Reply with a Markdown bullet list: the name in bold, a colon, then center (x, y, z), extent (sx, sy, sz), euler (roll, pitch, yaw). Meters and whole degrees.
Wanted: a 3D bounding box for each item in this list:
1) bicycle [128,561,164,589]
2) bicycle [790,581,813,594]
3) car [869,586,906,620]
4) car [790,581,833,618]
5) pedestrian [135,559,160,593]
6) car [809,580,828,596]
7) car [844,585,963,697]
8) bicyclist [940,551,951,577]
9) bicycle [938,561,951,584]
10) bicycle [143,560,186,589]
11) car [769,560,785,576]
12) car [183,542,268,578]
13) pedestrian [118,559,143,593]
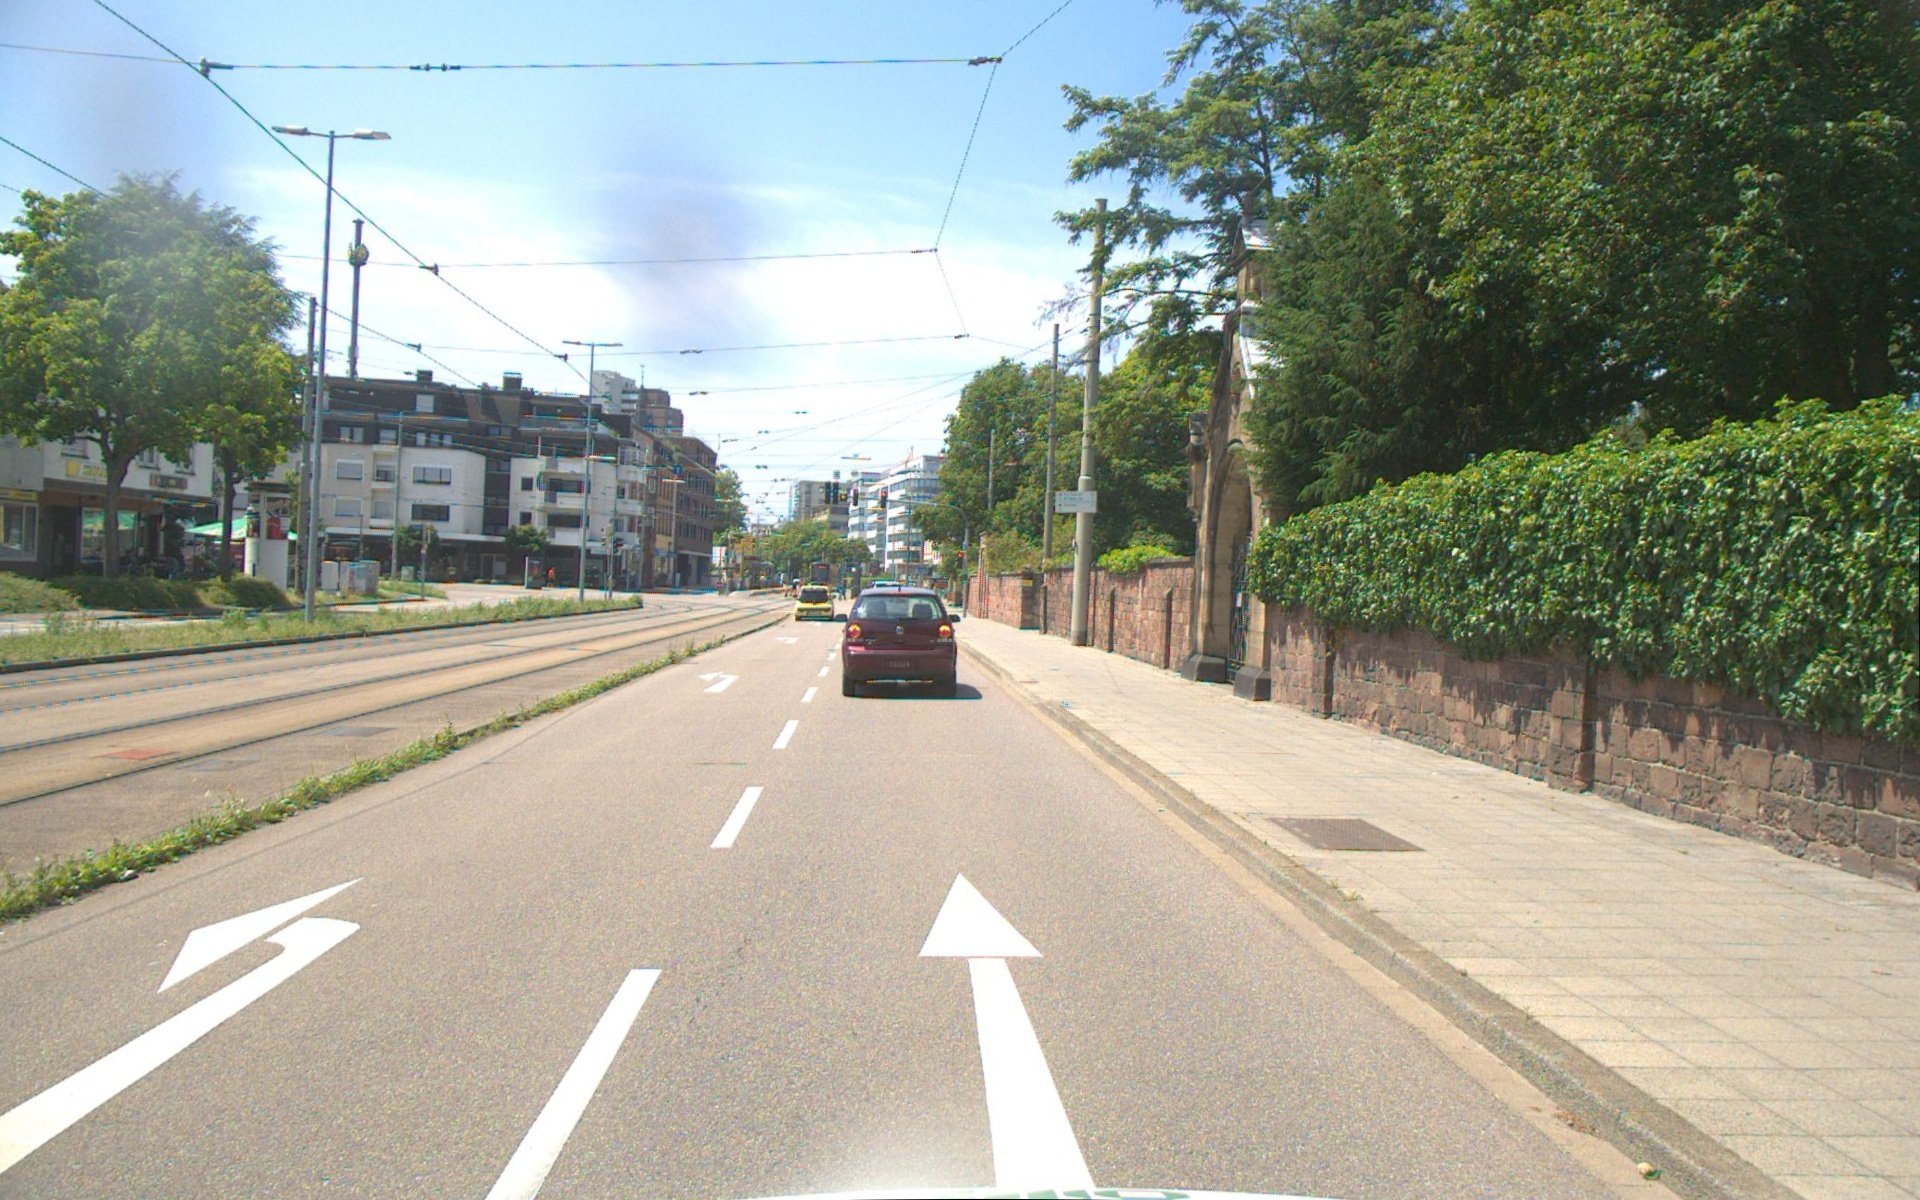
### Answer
- **bicycle**: center (-29.736, -0.911, 60.441), extent (0.527, 0.996, 1.758), euler (1, 0, -3)
- **bicycle**: center (-12.818, -1.019, 133.915), extent (1.830, 1.025, 0.578), euler (1, -1, -7)
- **car**: center (-3.174, 0.105, 72.033), extent (1.541, 1.440, 3.718), euler (0, 1, -3)
- **car**: center (-6.229, -0.042, 69.593), extent (1.689, 1.470, 3.290), euler (0, 1, -3)
- **pedestrian**: center (-31.639, -0.929, 64.421), extent (0.577, 1.291, 0.842), euler (1, 0, -3)
- **car**: center (-15.483, -1.292, 181.276), extent (1.899, 1.670, 3.997), euler (1, 0, -3)
- **car**: center (-0.864, 0.522, 24.002), extent (1.578, 1.489, 4.083), euler (0, 1, -3)
- **bicyclist**: center (-1.038, -2.590, 118.700), extent (0.707, 1.850, 0.888), euler (1, -1, -3)
- **bicycle**: center (-1.125, -1.971, 119.301), extent (0.818, 1.552, 3.998), euler (1, 0, -3)
- **bicycle**: center (-28.437, -0.889, 59.159), extent (0.598, 0.996, 2.028), euler (1, 0, -3)
- **car**: center (-24.125, -4.258, 218.351), extent (1.700, 2.048, 3.998), euler (2, 0, -3)
- **car**: center (-51.691, -2.770, 116.492), extent (4.965, 2.382, 2.243), euler (1, 0, -4)
- **pedestrian**: center (-32.271, -0.931, 64.347), extent (0.577, 1.291, 0.842), euler (1, 0, -3)
